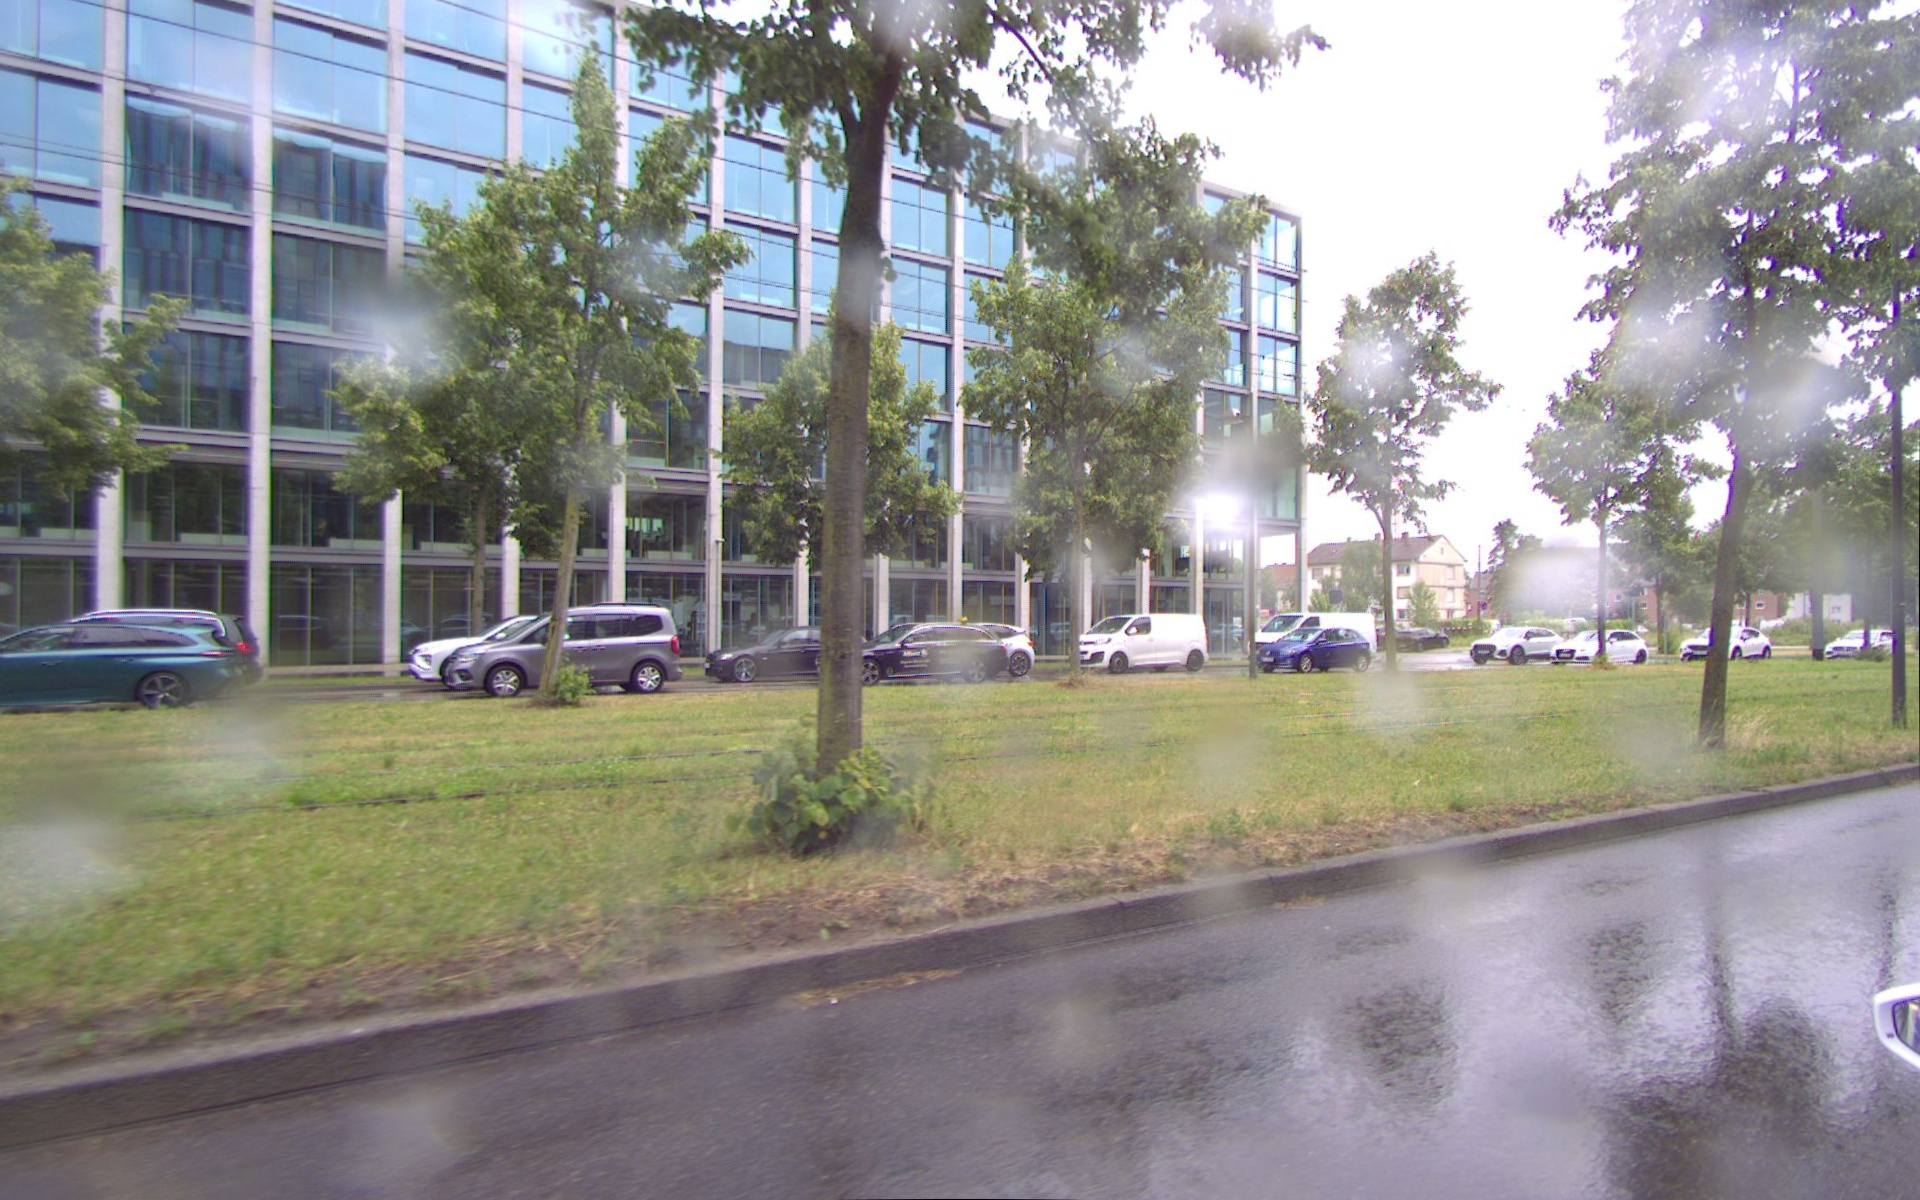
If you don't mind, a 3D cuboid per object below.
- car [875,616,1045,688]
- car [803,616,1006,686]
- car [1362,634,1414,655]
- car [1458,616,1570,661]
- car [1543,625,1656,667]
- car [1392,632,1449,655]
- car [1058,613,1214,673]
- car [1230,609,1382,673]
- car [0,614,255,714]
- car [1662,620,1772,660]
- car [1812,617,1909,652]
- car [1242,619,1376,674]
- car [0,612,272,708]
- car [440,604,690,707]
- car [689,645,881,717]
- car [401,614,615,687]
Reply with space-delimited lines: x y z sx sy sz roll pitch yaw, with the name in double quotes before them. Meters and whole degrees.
"car" 0.039 1.423 29.001 4.582 1.769 1.940 -2 0 -33
"car" -1.307 1.171 24.417 4.551 1.404 1.941 -2 0 -31
"car" 28.878 2.985 67.746 3.438 1.256 1.373 -2 0 -27
"car" 23.206 1.594 42.052 4.518 1.772 1.943 1 -1 -28
"car" 25.296 1.792 39.688 4.523 1.533 1.941 1 -1 -31
"car" 29.970 2.820 65.324 3.612 1.256 1.495 -2 0 -27
"car" 5.725 1.333 32.478 4.974 1.674 1.940 -2 0 -33
"car" 12.599 1.409 36.462 5.307 2.033 2.258 -2 0 -29
"car" -14.203 0.999 16.240 4.422 1.404 1.940 -2 0 -32
"car" 29.929 1.568 39.689 4.523 1.471 1.941 1 -1 -31
"car" 43.747 1.635 48.775 4.768 1.480 1.944 -2 0 -27
"car" 11.104 1.419 31.928 3.915 1.514 1.942 -2 0 -30
"car" -15.831 1.070 19.256 4.225 1.560 1.940 -2 0 -33
"car" -8.009 1.032 20.465 4.491 1.873 1.941 0 0 -31
"car" -4.526 2.035 26.202 4.574 1.466 1.848 -2 0 -33
"car" -10.310 1.083 22.973 4.225 1.404 1.940 -2 0 -33
